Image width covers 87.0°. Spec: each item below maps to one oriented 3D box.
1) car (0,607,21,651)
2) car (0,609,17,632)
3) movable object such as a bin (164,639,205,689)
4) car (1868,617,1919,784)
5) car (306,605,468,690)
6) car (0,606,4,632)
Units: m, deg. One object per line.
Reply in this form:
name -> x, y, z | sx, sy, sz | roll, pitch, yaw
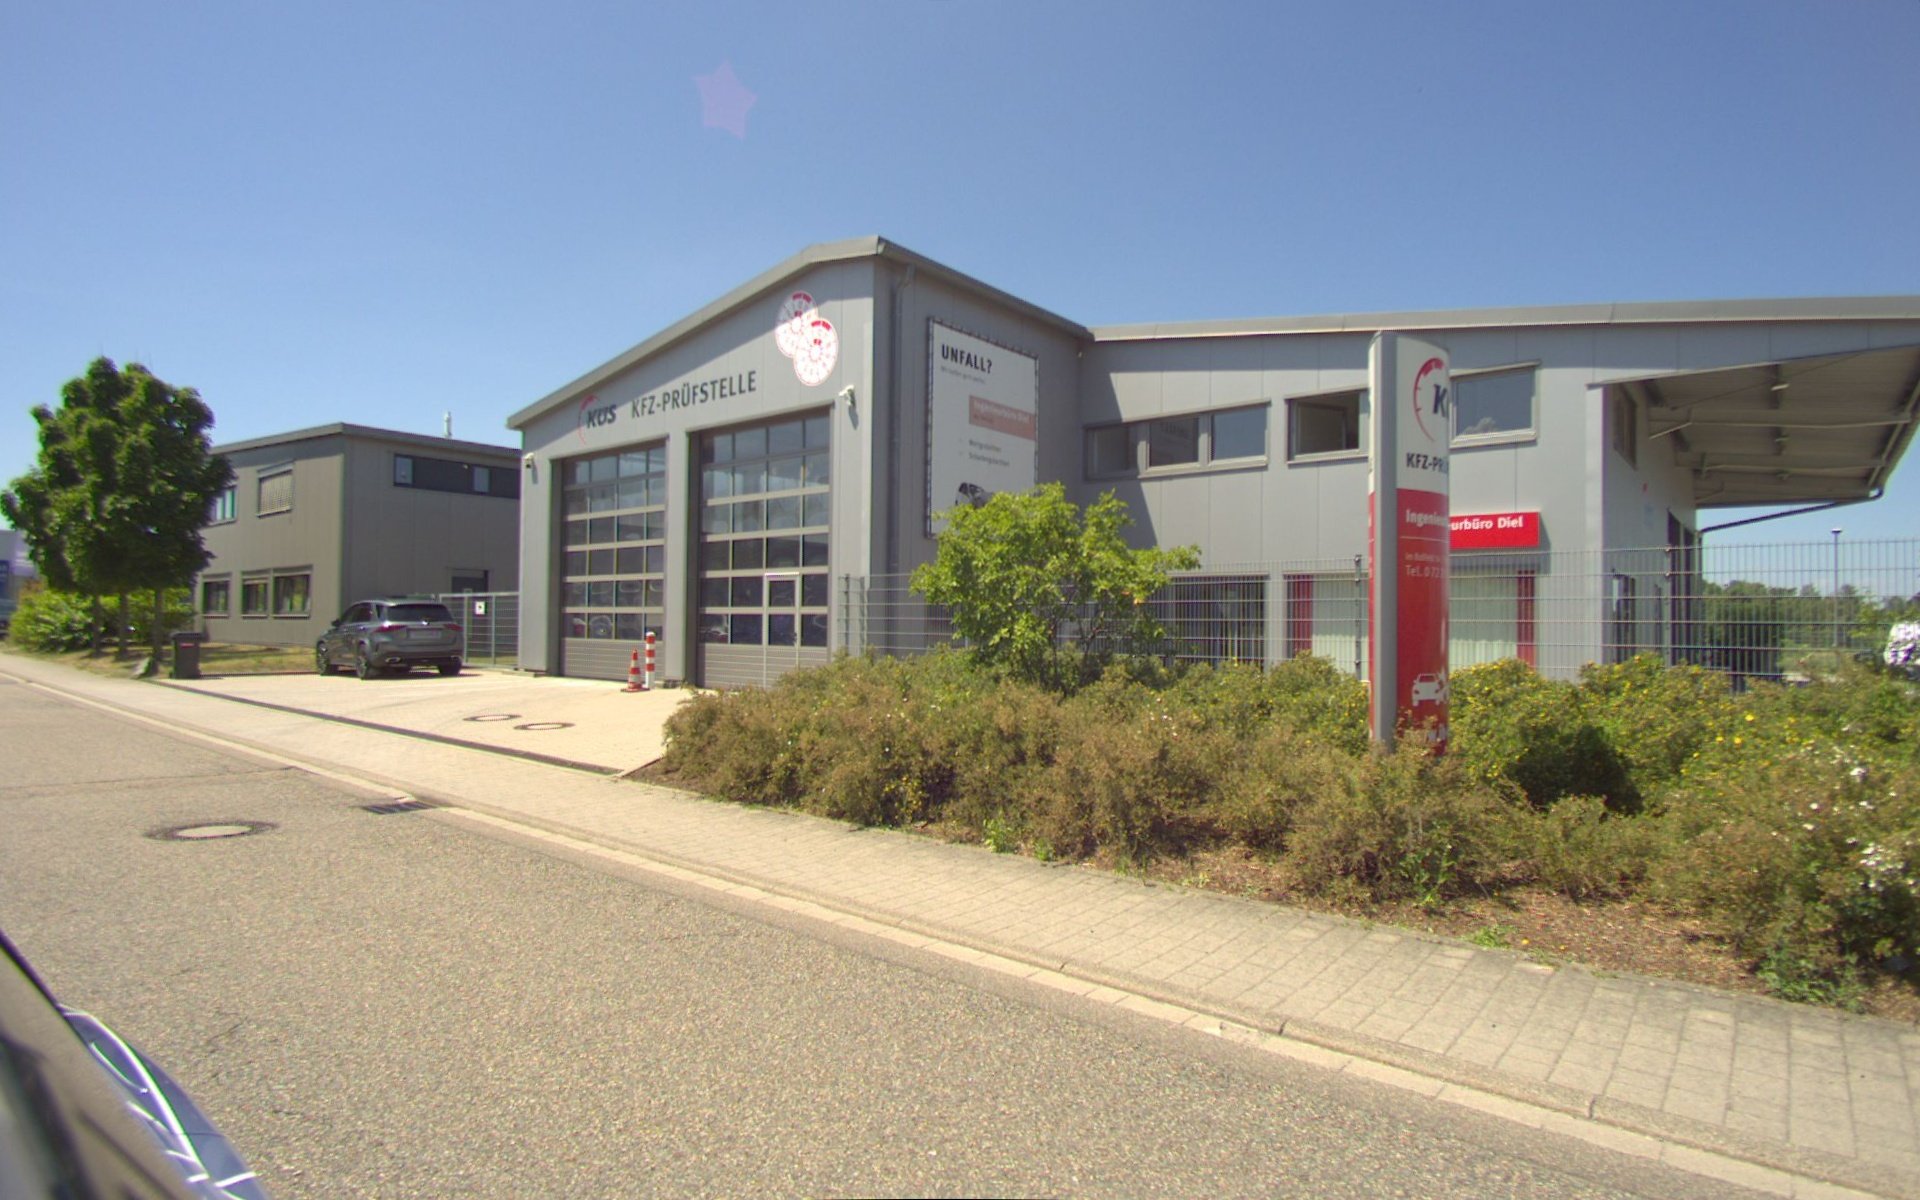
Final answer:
car -> -45.427, 1.310, 47.022 | 5.214, 1.971, 1.973 | -1, -2, 40
car -> -61.074, 1.235, 62.294 | 1.846, 1.442, 4.264 | -1, -2, 41
movable object such as a bin -> -17.367, 1.422, 22.658 | 0.765, 1.074, 0.573 | -1, 0, 40
car -> 10.148, 0.958, 9.809 | 1.555, 1.564, 3.470 | -1, -2, 35
car -> -13.414, 1.062, 23.545 | 4.914, 1.749, 1.971 | -2, -2, 44
car -> -58.839, 1.129, 60.138 | 1.534, 1.529, 2.714 | -1, -2, 39
